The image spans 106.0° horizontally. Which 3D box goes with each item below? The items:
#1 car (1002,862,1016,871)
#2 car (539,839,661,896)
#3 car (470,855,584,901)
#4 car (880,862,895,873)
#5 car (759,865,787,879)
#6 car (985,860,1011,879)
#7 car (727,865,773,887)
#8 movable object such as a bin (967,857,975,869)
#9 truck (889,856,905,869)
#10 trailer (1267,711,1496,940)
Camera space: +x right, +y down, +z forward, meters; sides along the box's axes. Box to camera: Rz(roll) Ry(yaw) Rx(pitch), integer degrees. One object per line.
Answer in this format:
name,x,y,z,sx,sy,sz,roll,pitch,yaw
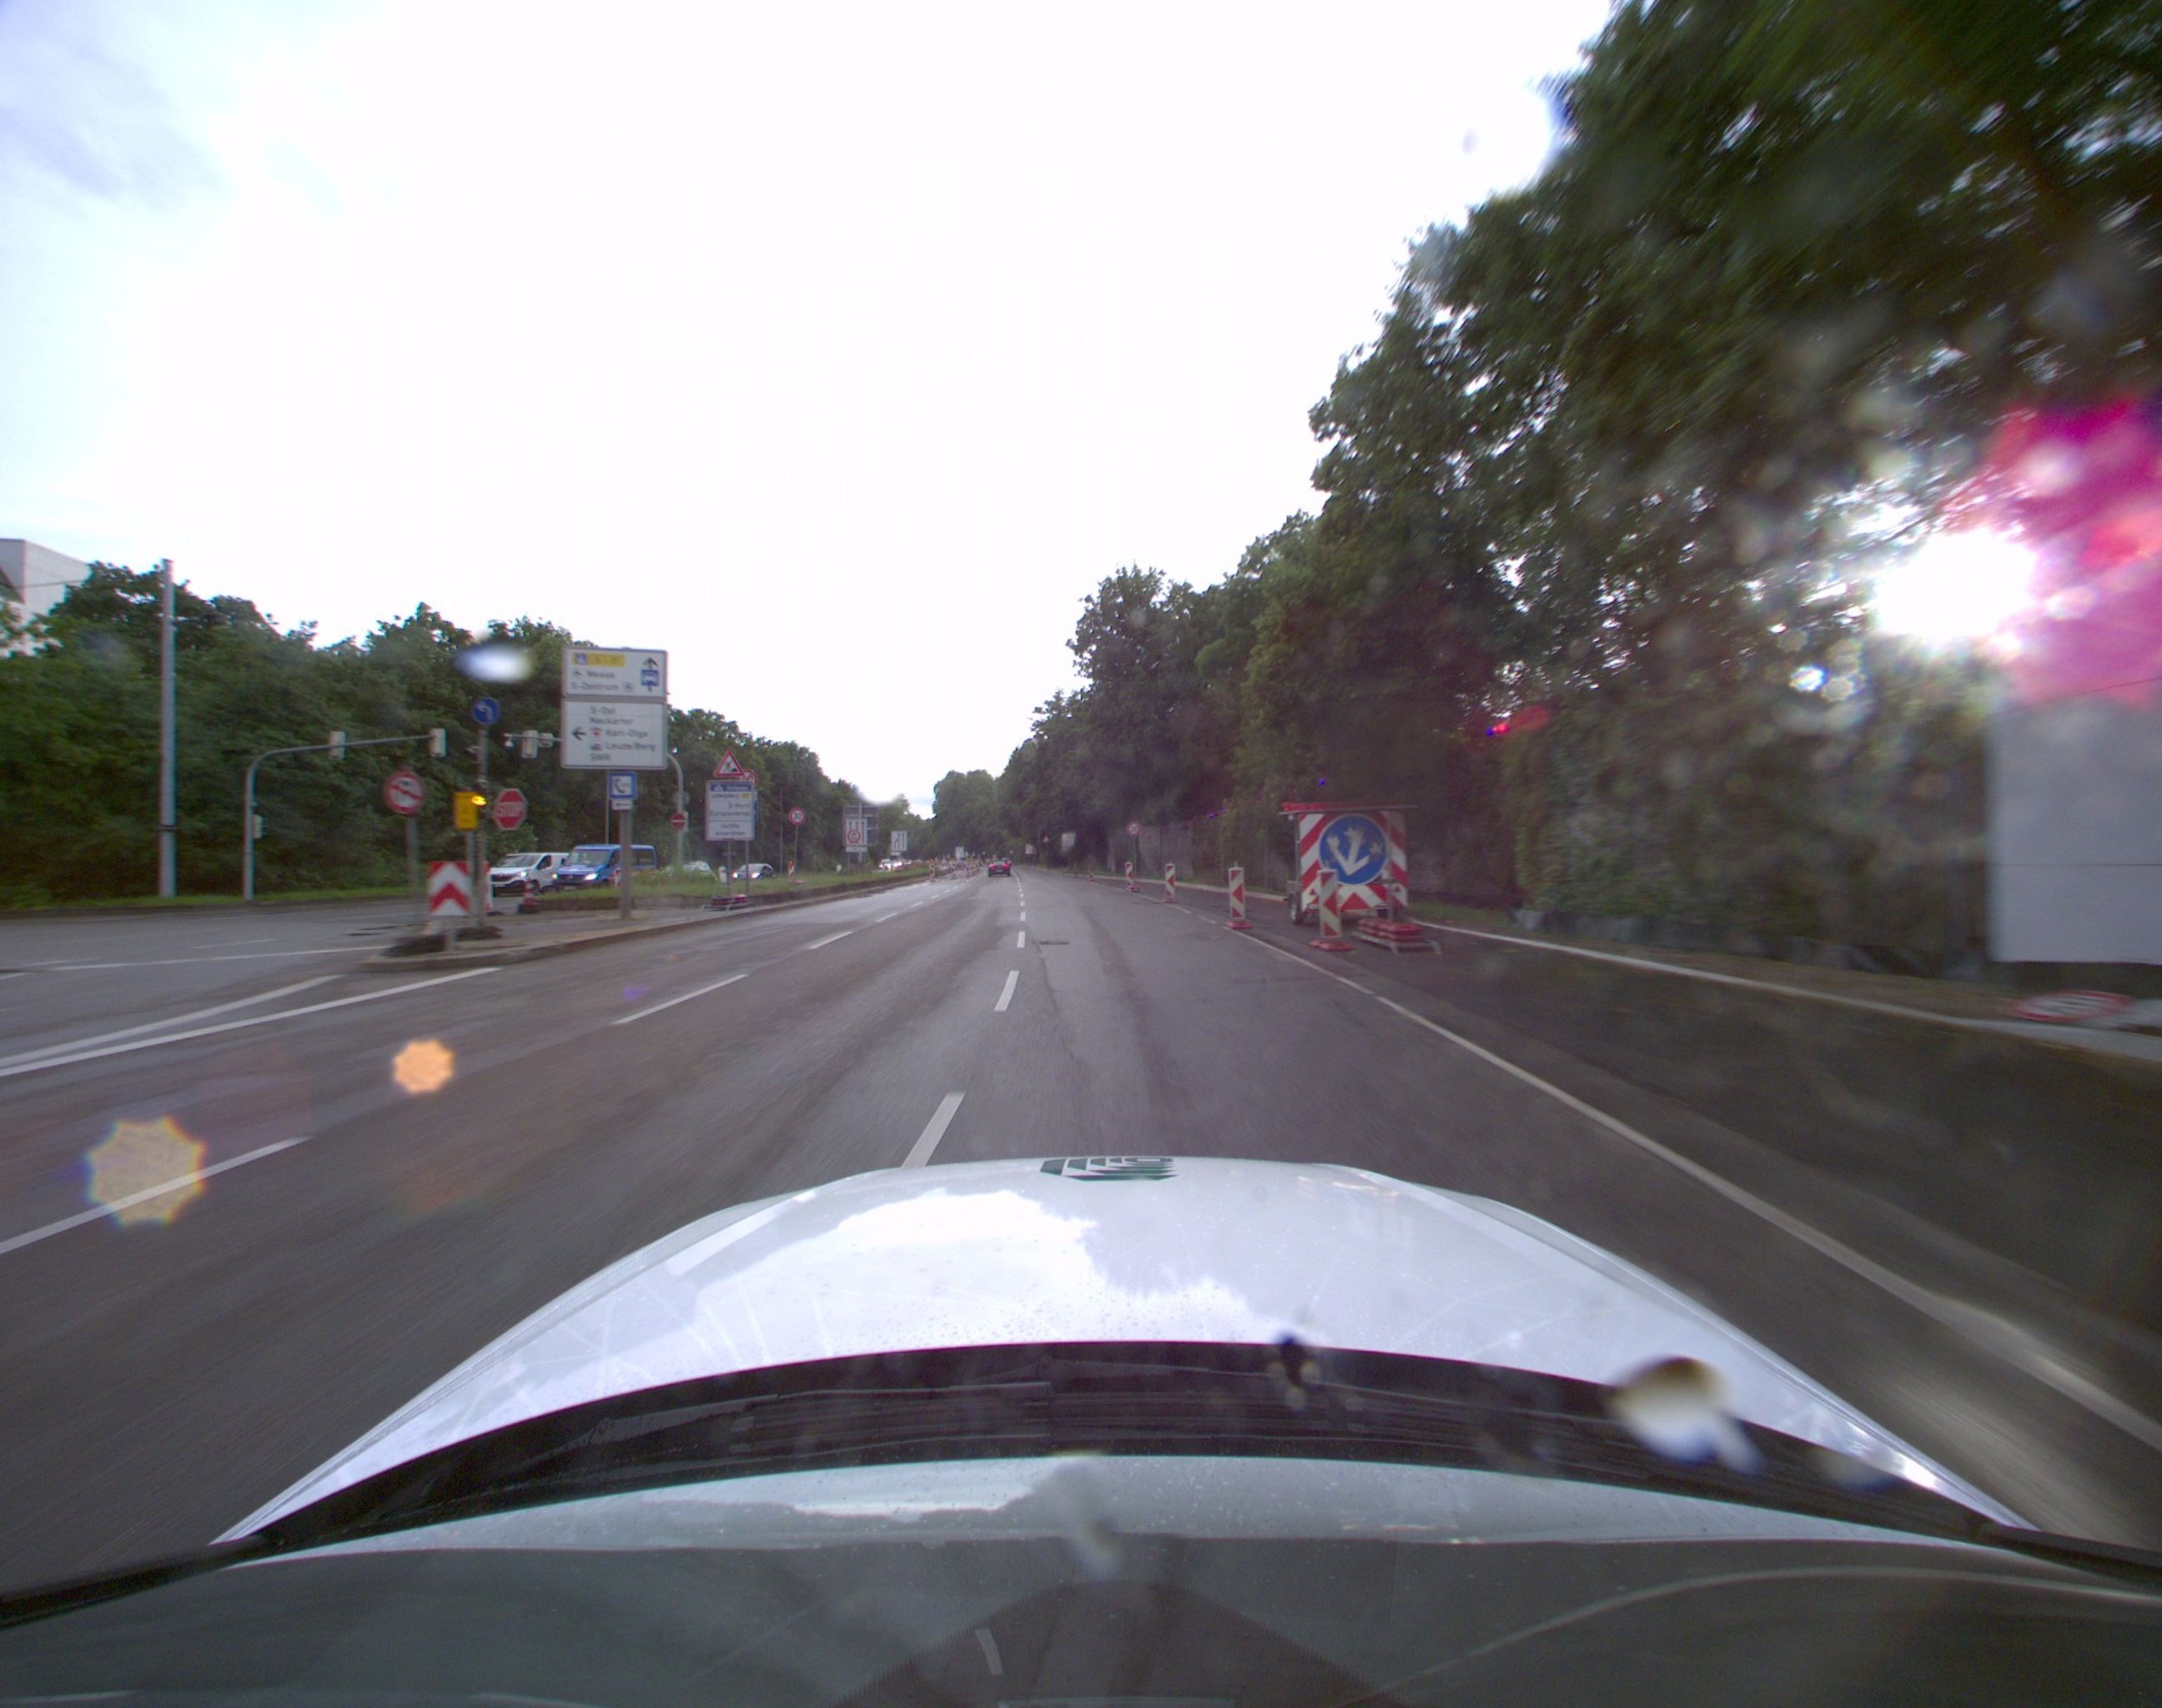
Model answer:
car,-13.016,2.174,147.213,1.915,1.598,4.815,-1,0,-11
car,-21.930,0.570,37.535,2.190,2.390,6.237,0,0,-3
car,-25.240,1.030,37.368,2.030,1.974,4.984,0,0,-3
car,-33.432,2.380,140.579,1.912,1.781,4.822,-1,0,-7
car,-24.382,1.403,64.459,1.267,1.085,2.790,0,0,-3
car,-6.935,1.280,68.433,1.857,1.491,3.997,0,1,-2
car,-19.210,1.261,47.383,1.426,1.200,3.296,-1,-1,-2
movable object such as a bin,-28.097,2.298,207.587,1.748,2.867,3.519,-2,-1,-12
truck,-45.715,2.121,202.909,2.793,3.148,10.121,-1,-1,-7
trailer,5.491,-0.410,16.034,2.299,3.589,5.961,-2,-1,2
